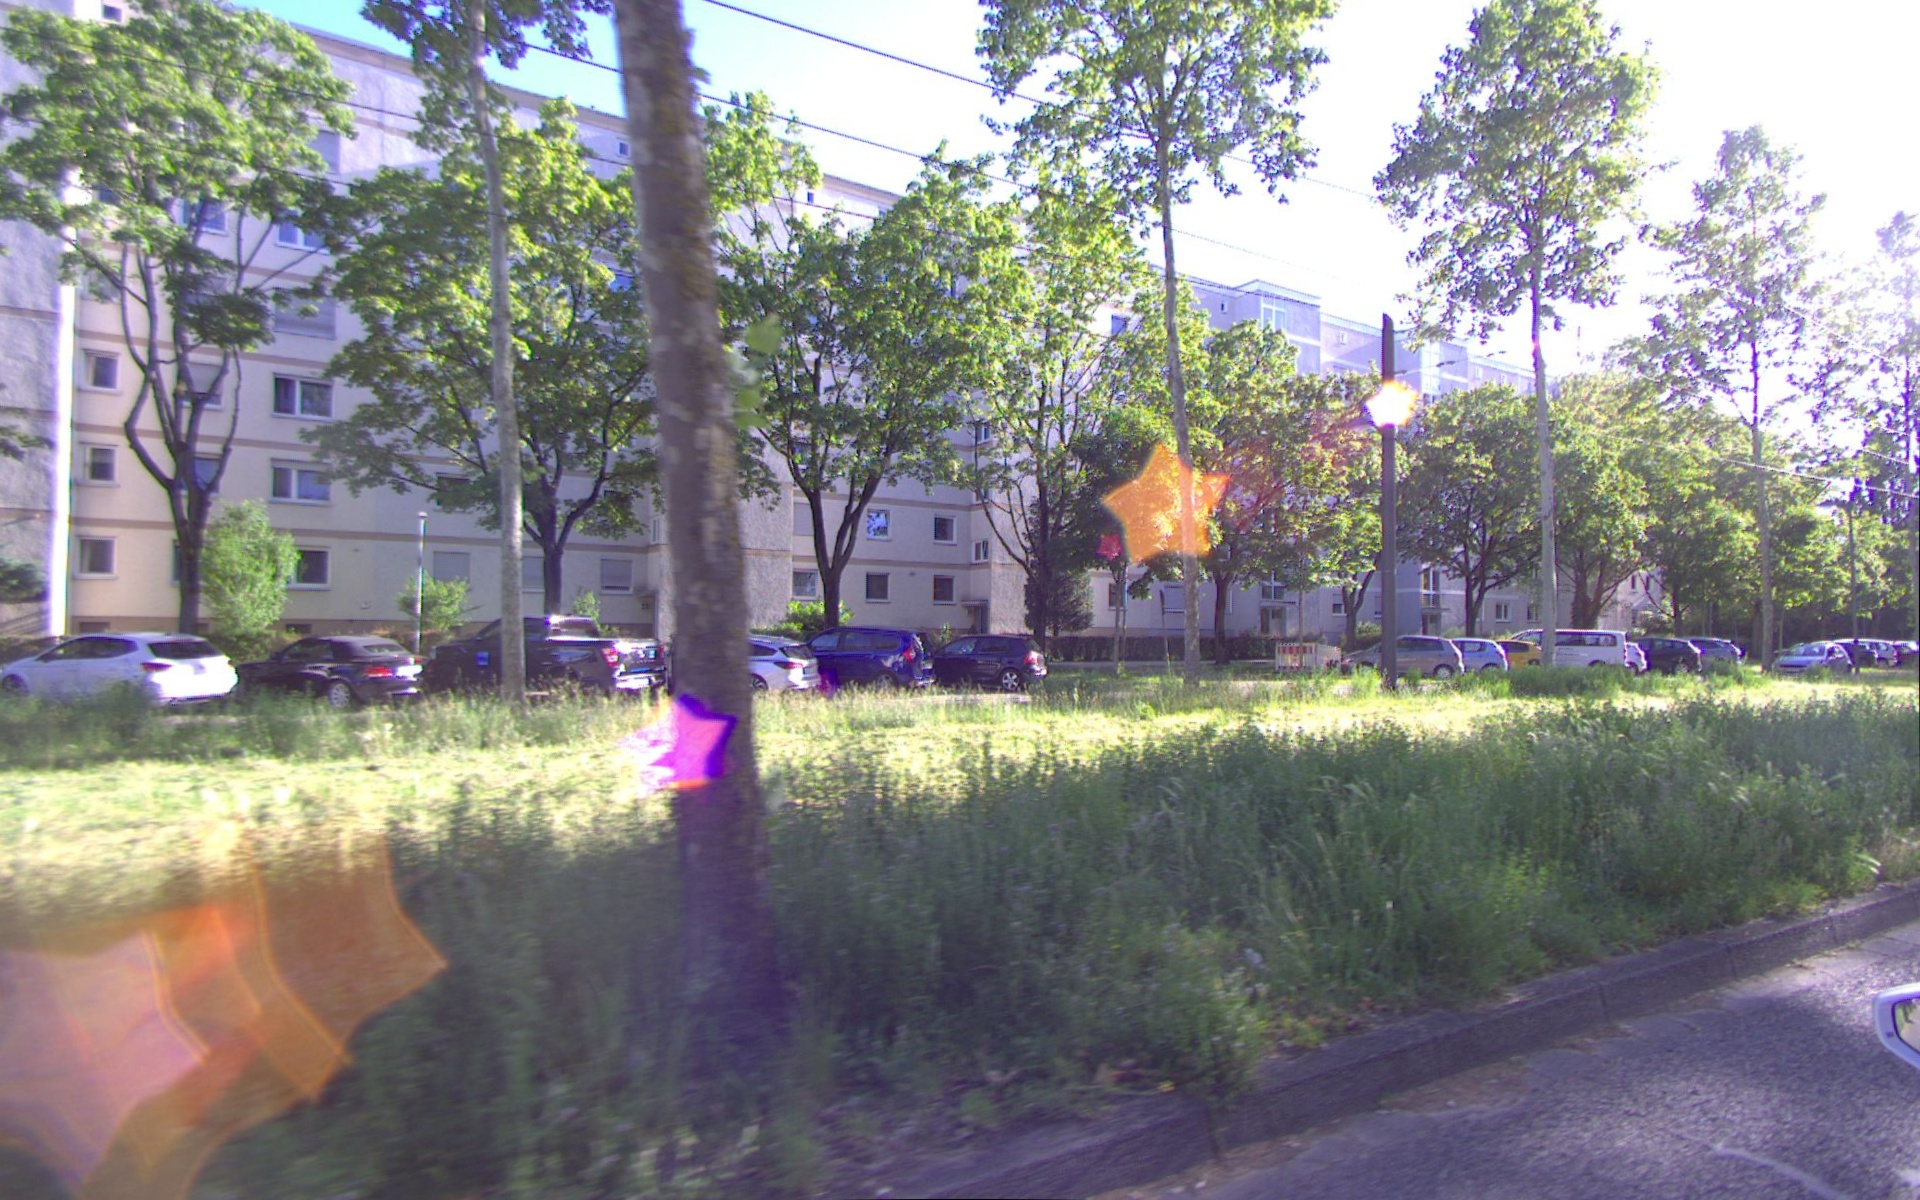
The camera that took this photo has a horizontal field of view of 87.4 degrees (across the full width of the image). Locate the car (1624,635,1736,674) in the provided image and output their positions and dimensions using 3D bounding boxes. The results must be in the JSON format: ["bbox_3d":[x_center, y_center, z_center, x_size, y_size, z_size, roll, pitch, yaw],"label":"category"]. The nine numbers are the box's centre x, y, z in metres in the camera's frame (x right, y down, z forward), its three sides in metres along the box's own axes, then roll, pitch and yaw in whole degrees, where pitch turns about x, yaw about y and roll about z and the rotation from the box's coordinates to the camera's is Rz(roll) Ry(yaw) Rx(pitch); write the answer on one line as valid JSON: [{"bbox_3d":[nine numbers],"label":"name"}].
[{"bbox_3d":[33.269,2.487,46.542,4.012,1.628,1.991,0,-1,30],"label":"car"}]

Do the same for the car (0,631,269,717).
[{"bbox_3d":[-15.105,1.310,18.464,3.747,1.454,1.842,0,-2,12],"label":"car"}]

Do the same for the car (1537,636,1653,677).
[{"bbox_3d":[26.996,2.387,42.852,4.009,1.451,1.577,2,1,27],"label":"car"}]

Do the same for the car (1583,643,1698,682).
[{"bbox_3d":[30.172,2.747,44.656,4.010,1.551,1.816,0,-1,27],"label":"car"}]

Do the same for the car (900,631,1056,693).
[{"bbox_3d":[0.519,1.666,27.595,4.002,1.496,1.652,0,2,14],"label":"car"}]

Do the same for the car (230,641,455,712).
[{"bbox_3d":[-12.259,1.476,20.002,3.749,1.263,1.841,0,-2,19],"label":"car"}]

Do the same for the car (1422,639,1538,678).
[{"bbox_3d":[20.496,2.306,39.734,4.009,1.451,1.578,0,-4,26],"label":"car"}]

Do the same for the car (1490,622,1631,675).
[{"bbox_3d":[24.410,1.940,41.069,4.706,2.033,1.891,0,0,23],"label":"car"}]

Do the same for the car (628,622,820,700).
[{"bbox_3d":[-5.448,1.376,23.346,4.002,1.668,1.652,1,-1,12],"label":"car"}]

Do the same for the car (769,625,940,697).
[{"bbox_3d":[-2.674,1.509,25.586,4.003,1.668,1.652,0,1,15],"label":"car"}]

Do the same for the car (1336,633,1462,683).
[{"bbox_3d":[15.583,2.035,35.839,4.004,1.667,1.652,0,-2,19],"label":"car"}]

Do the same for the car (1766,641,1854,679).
[{"bbox_3d":[35.654,2.509,42.105,3.804,1.505,1.638,3,-3,-30],"label":"car"}]

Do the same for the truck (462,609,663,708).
[{"bbox_3d":[-8.493,1.188,21.451,4.008,1.798,1.650,2,0,25],"label":"truck"}]

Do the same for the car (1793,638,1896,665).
[{"bbox_3d":[53.682,3.109,61.066,4.402,1.501,1.617,0,-2,25],"label":"car"}]

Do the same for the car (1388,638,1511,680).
[{"bbox_3d":[18.447,2.203,38.035,4.004,1.502,1.652,0,-2,19],"label":"car"}]

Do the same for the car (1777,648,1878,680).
[{"bbox_3d":[48.755,3.579,56.525,3.900,1.697,1.788,0,-2,18],"label":"car"}]

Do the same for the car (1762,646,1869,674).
[{"bbox_3d":[46.461,3.251,54.656,4.050,1.355,1.796,0,-1,18],"label":"car"}]

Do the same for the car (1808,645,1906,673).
[{"bbox_3d":[52.013,3.388,58.307,3.843,1.507,1.796,0,-2,18],"label":"car"}]
